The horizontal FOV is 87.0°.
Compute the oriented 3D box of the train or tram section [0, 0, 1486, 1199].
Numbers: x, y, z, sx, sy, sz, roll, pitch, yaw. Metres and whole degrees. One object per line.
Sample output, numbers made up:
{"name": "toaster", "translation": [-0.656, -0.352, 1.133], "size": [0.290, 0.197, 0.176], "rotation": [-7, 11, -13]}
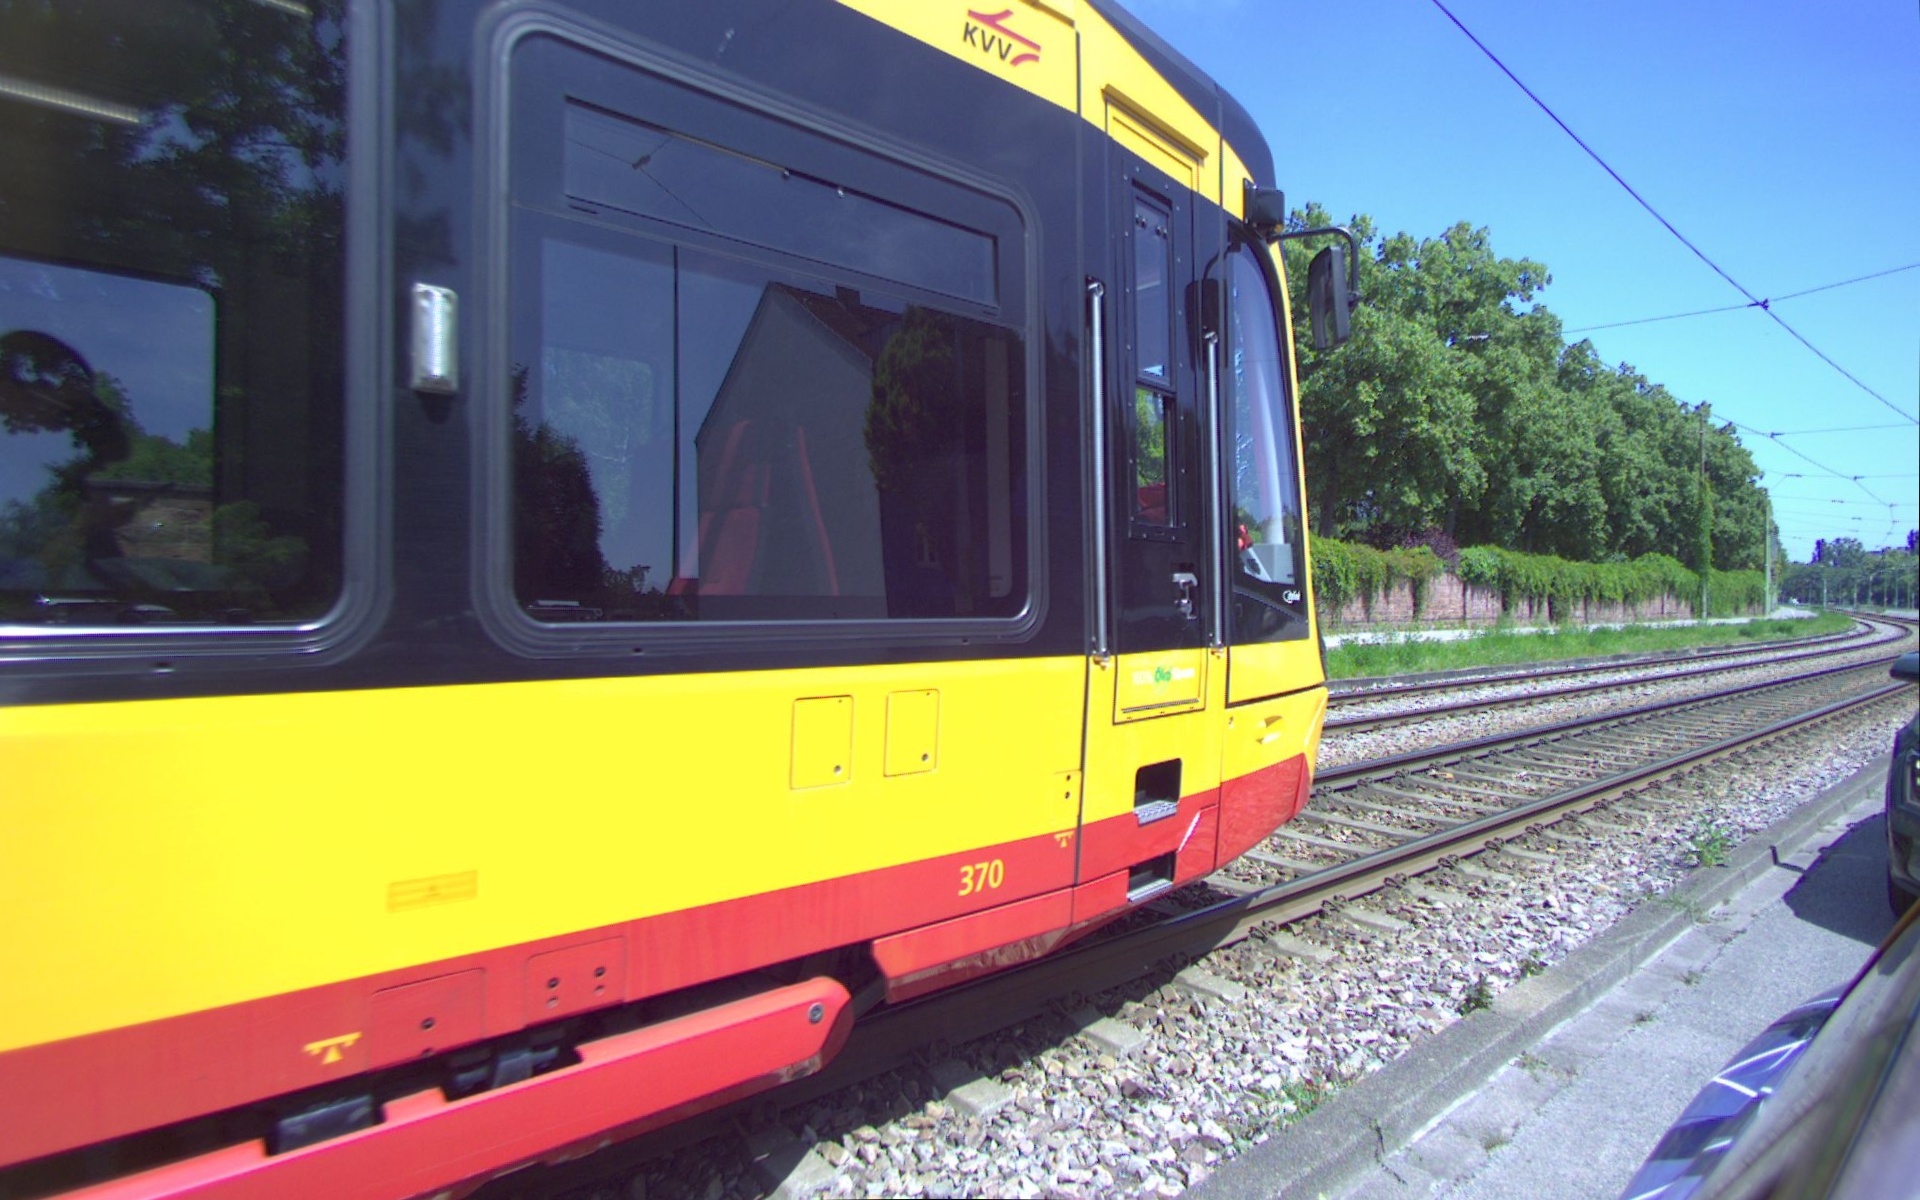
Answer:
{"name": "train or tram section", "translation": [-3.362, -0.418, 1.505], "size": [12.641, 3.656, 2.746], "rotation": [0, -1, -40]}

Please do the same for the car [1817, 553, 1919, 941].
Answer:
{"name": "car", "translation": [5.848, 0.586, 4.730], "size": [3.927, 1.563, 2.062], "rotation": [0, -1, -38]}
